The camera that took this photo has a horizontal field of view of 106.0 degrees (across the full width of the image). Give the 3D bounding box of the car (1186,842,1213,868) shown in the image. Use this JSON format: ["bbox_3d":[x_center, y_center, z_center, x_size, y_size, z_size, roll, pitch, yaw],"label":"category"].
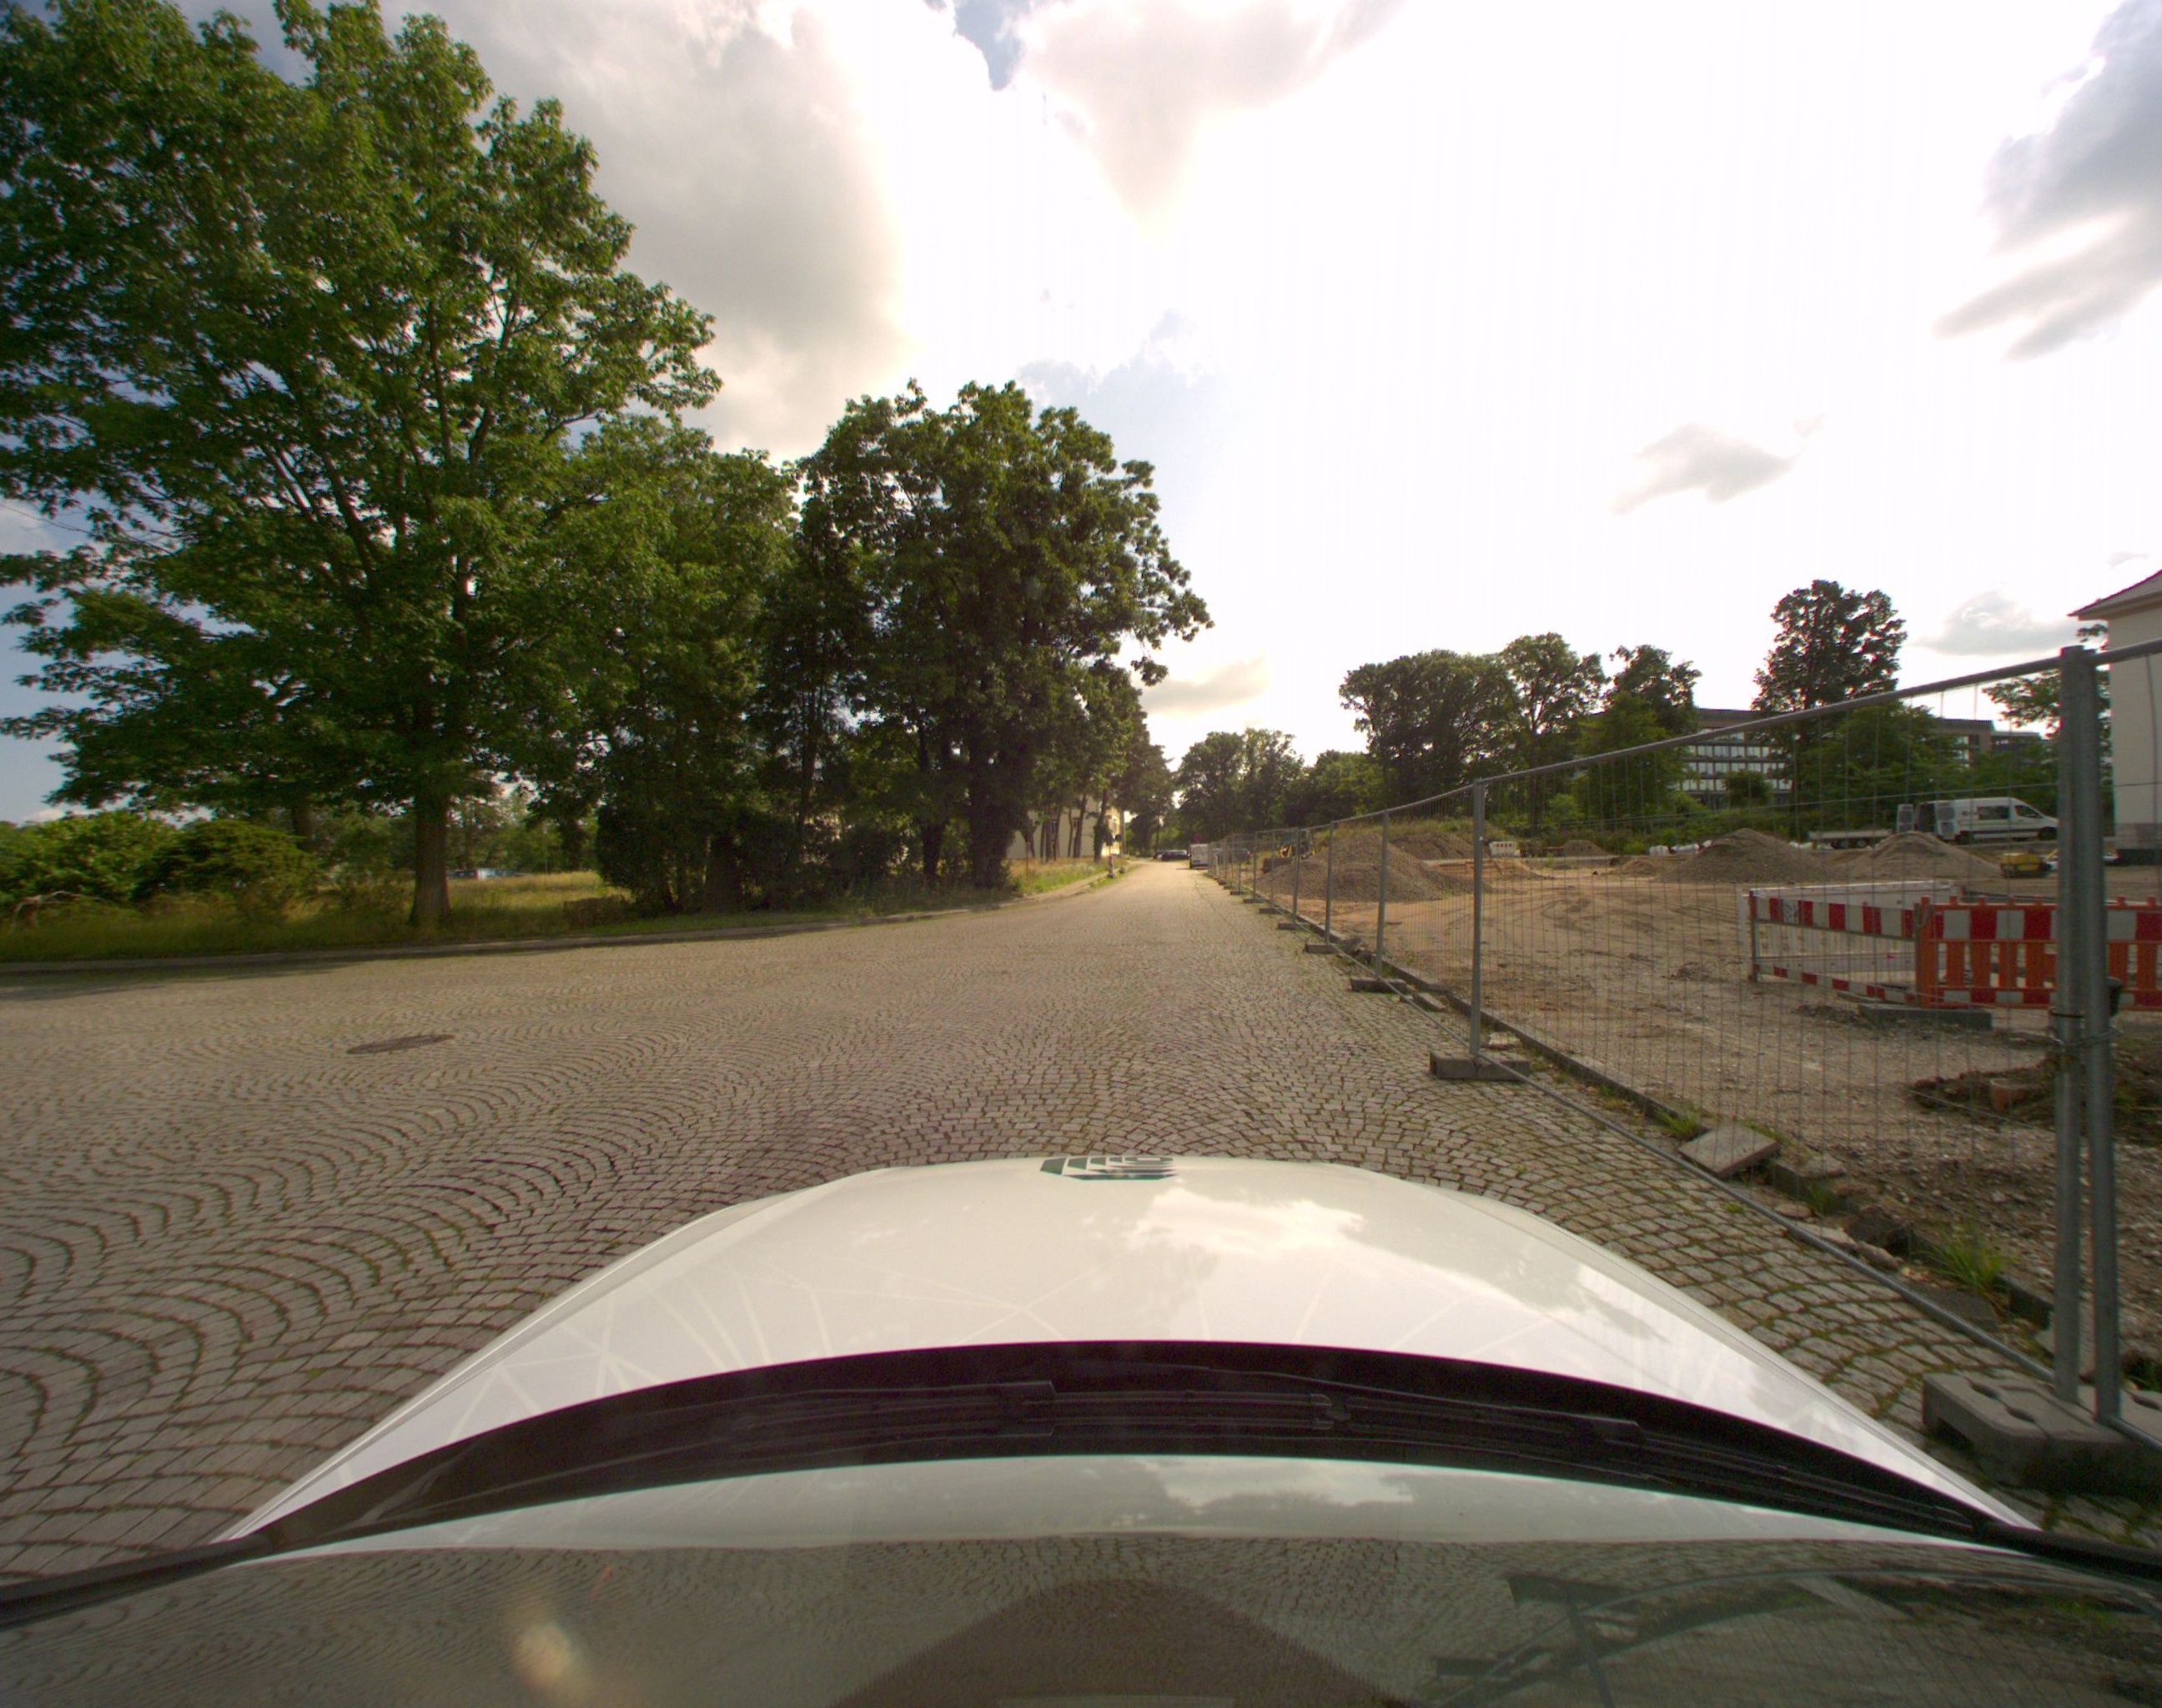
[{"bbox_3d":[9.814,0.056,67.678,1.984,2.013,4.096,-2,0,4],"label":"car"}]

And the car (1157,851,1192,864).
[{"bbox_3d":[13.336,0.453,115.934,4.764,1.640,2.000,-2,0,0],"label":"car"}]

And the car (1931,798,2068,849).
[{"bbox_3d":[52.297,-1.681,46.500,4.763,2.642,2.065,-2,0,18],"label":"car"}]

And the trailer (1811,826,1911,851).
[{"bbox_3d":[46.681,-0.923,48.851,3.948,1.354,2.101,-2,0,31],"label":"trailer"}]

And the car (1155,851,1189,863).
[{"bbox_3d":[13.228,0.445,119.038,4.764,1.640,2.000,-2,0,0],"label":"car"}]

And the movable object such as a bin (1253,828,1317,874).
[{"bbox_3d":[12.395,-0.212,49.279,2.108,2.593,4.822,-2,0,35],"label":"movable object such as a bin"}]

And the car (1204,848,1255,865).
[{"bbox_3d":[13.358,0.211,73.115,4.371,1.510,2.007,-1,0,13],"label":"car"}]
